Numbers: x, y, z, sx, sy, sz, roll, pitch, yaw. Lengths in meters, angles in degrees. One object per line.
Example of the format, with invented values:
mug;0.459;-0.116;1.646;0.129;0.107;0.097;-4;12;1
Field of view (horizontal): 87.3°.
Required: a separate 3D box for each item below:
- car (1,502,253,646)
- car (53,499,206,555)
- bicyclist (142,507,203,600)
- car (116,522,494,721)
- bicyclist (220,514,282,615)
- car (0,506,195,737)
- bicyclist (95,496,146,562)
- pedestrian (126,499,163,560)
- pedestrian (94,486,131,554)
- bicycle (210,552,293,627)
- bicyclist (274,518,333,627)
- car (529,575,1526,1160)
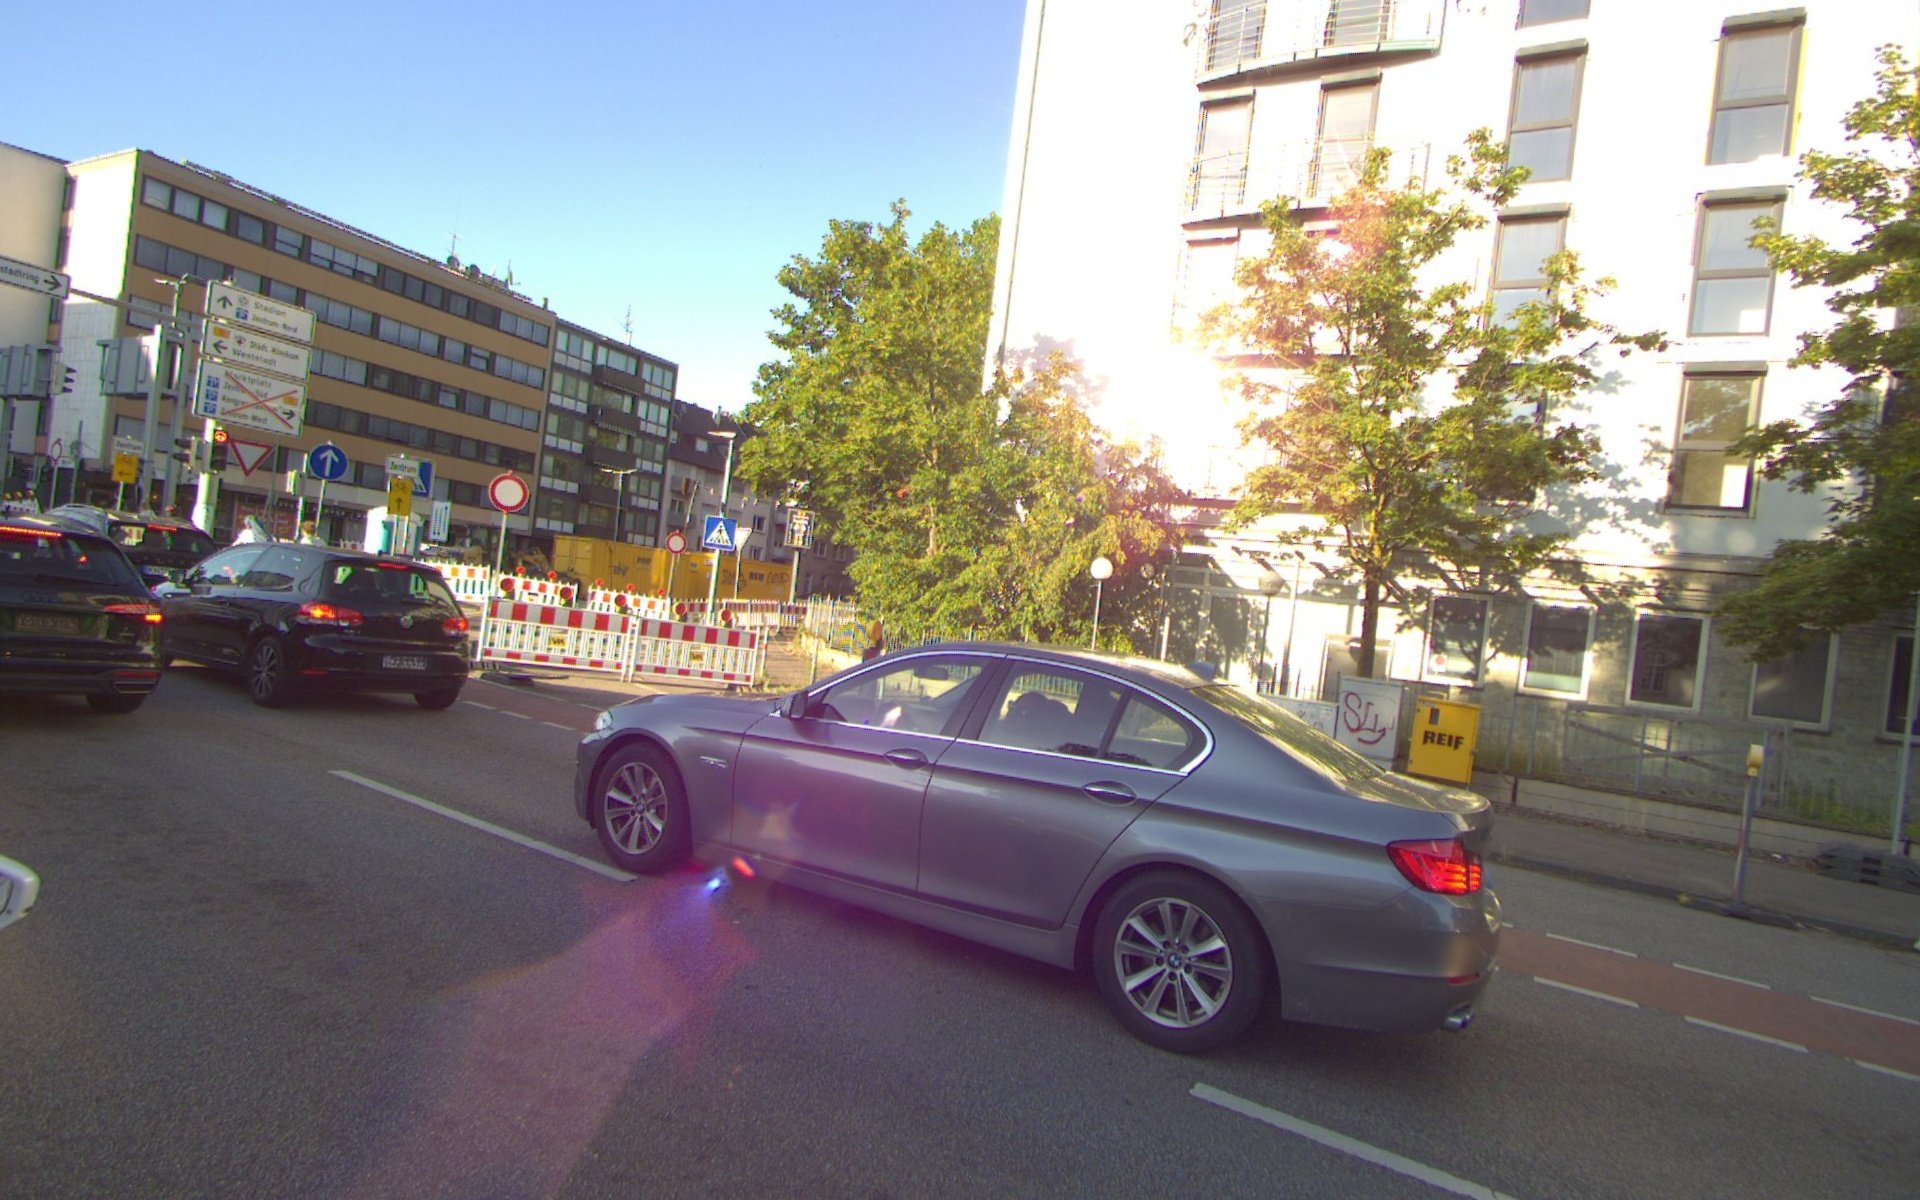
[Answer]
car;-11.113;-0.361;13.391;3.250;1.466;1.508;7;-2;32
car;-30.469;-2.638;37.066;1.650;1.435;4.001;7;-1;18
bicyclist;-13.956;-0.825;17.822;0.713;1.544;0.514;7;0;32
car;-6.613;0.187;10.078;3.683;1.466;1.637;7;-2;32
bicyclist;-11.501;-0.570;16.324;0.713;1.544;0.441;7;0;32
car;-7.679;-0.049;7.473;4.144;1.437;1.685;7;-2;32
bicyclist;-22.148;-1.871;26.546;0.800;1.608;0.619;8;0;29
pedestrian;-23.958;-2.067;29.565;0.447;1.691;0.602;7;0;33
pedestrian;-24.293;-2.283;28.841;0.479;1.857;0.570;7;0;34
bicycle;-11.482;-0.176;16.279;1.825;1.020;0.337;7;0;32
bicyclist;-9.809;-0.406;15.035;0.474;1.544;0.441;7;0;31
car;0.164;0.908;5.138;4.587;1.466;1.819;7;-1;29
